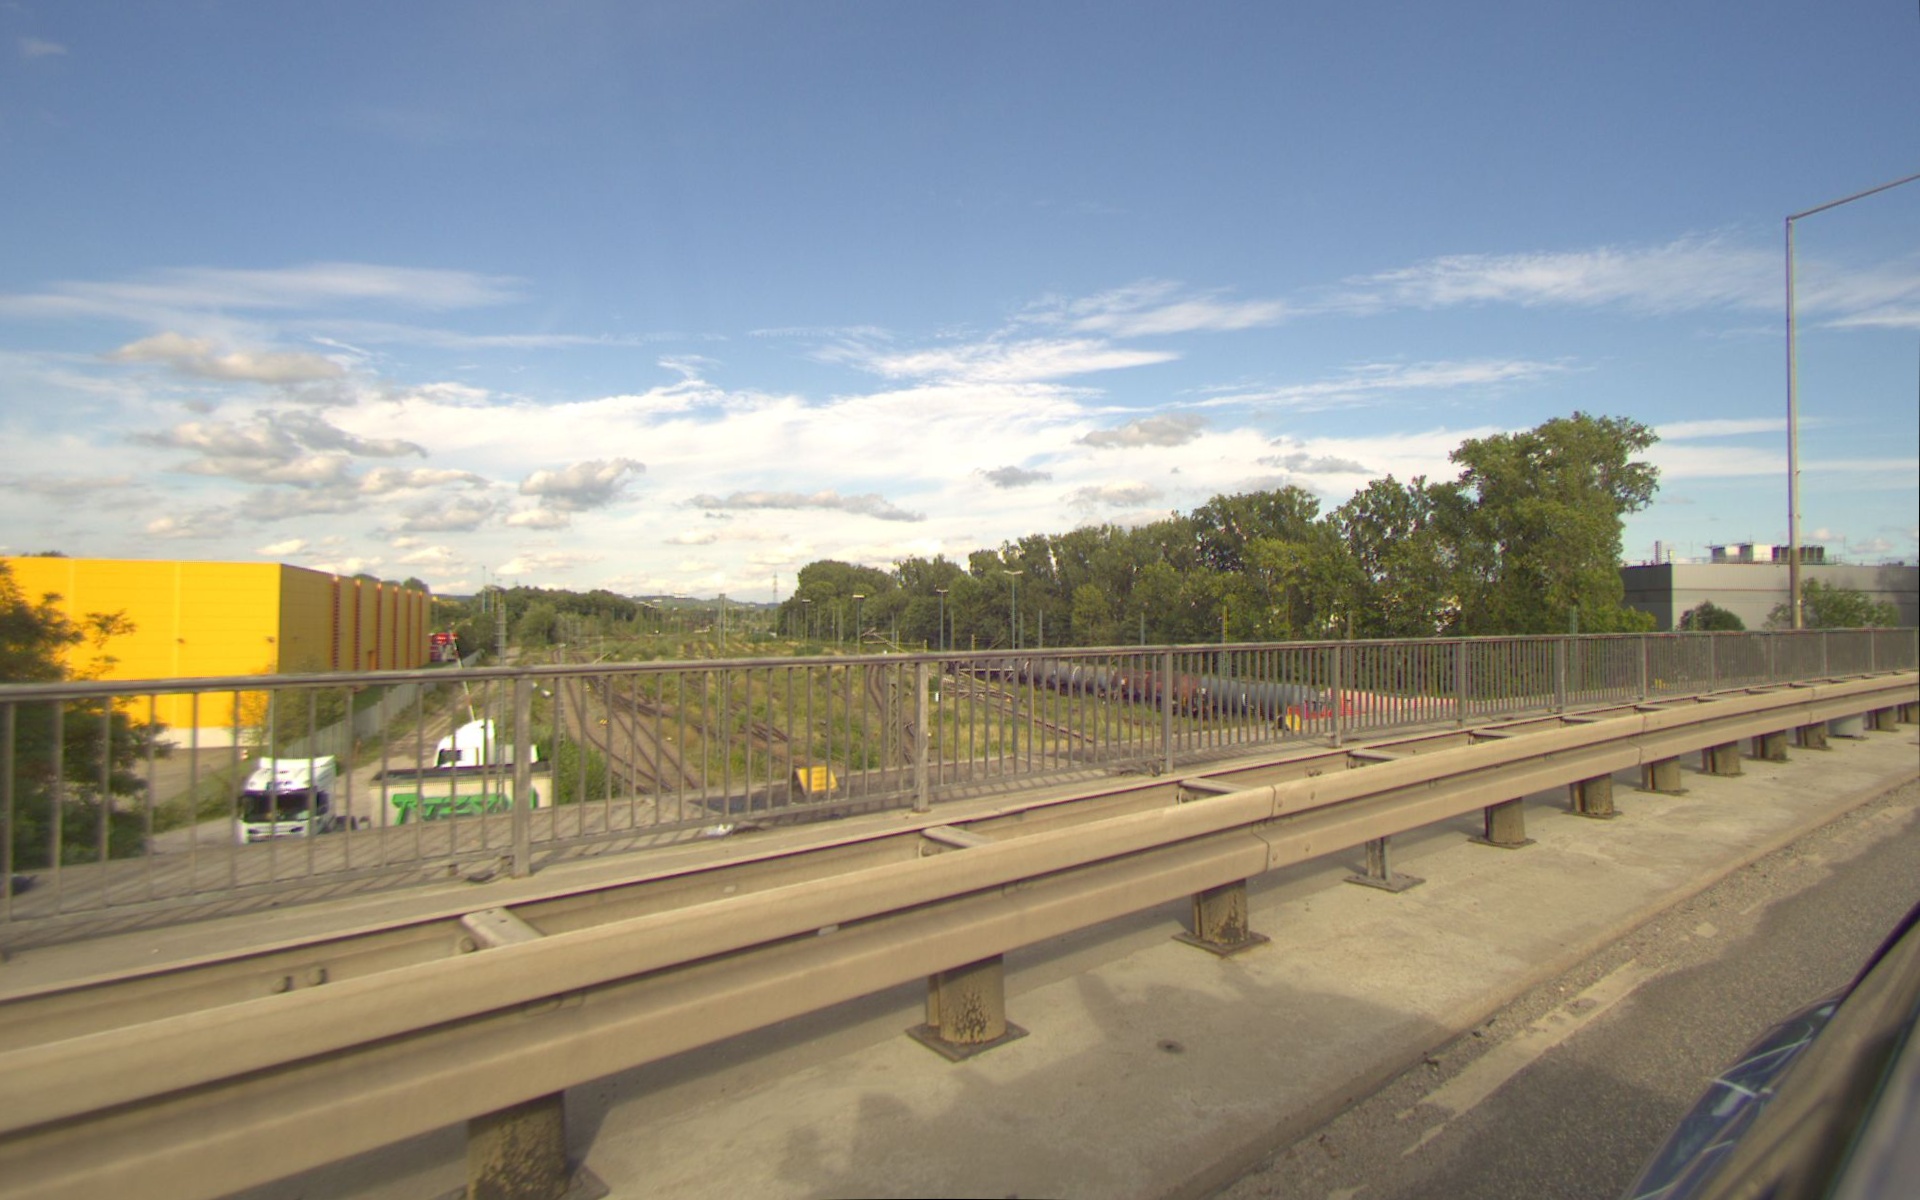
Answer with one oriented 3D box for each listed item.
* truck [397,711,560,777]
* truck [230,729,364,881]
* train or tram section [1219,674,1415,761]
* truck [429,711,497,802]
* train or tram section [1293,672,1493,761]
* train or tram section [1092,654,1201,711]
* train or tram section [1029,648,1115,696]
[{"bbox_3d":[-28.396,8.450,59.998,8.440,3.422,2.041,2,0,-25],"label":"truck"},{"bbox_3d":[-26.122,7.835,40.353,2.610,4.143,8.638,2,0,-21],"label":"truck"},{"bbox_3d":[26.304,8.544,76.542,3.032,4.196,17.338,0,1,-23],"label":"train or tram section"},{"bbox_3d":[-26.931,8.342,55.104,2.610,3.663,7.248,2,0,-21],"label":"truck"},{"bbox_3d":[32.416,8.544,77.450,3.032,4.772,16.781,0,0,-22],"label":"train or tram section"},{"bbox_3d":[19.604,8.584,108.403,3.032,4.772,16.781,0,0,-22],"label":"train or tram section"},{"bbox_3d":[13.442,8.627,124.028,3.032,4.772,16.781,0,0,-22],"label":"train or tram section"}]
